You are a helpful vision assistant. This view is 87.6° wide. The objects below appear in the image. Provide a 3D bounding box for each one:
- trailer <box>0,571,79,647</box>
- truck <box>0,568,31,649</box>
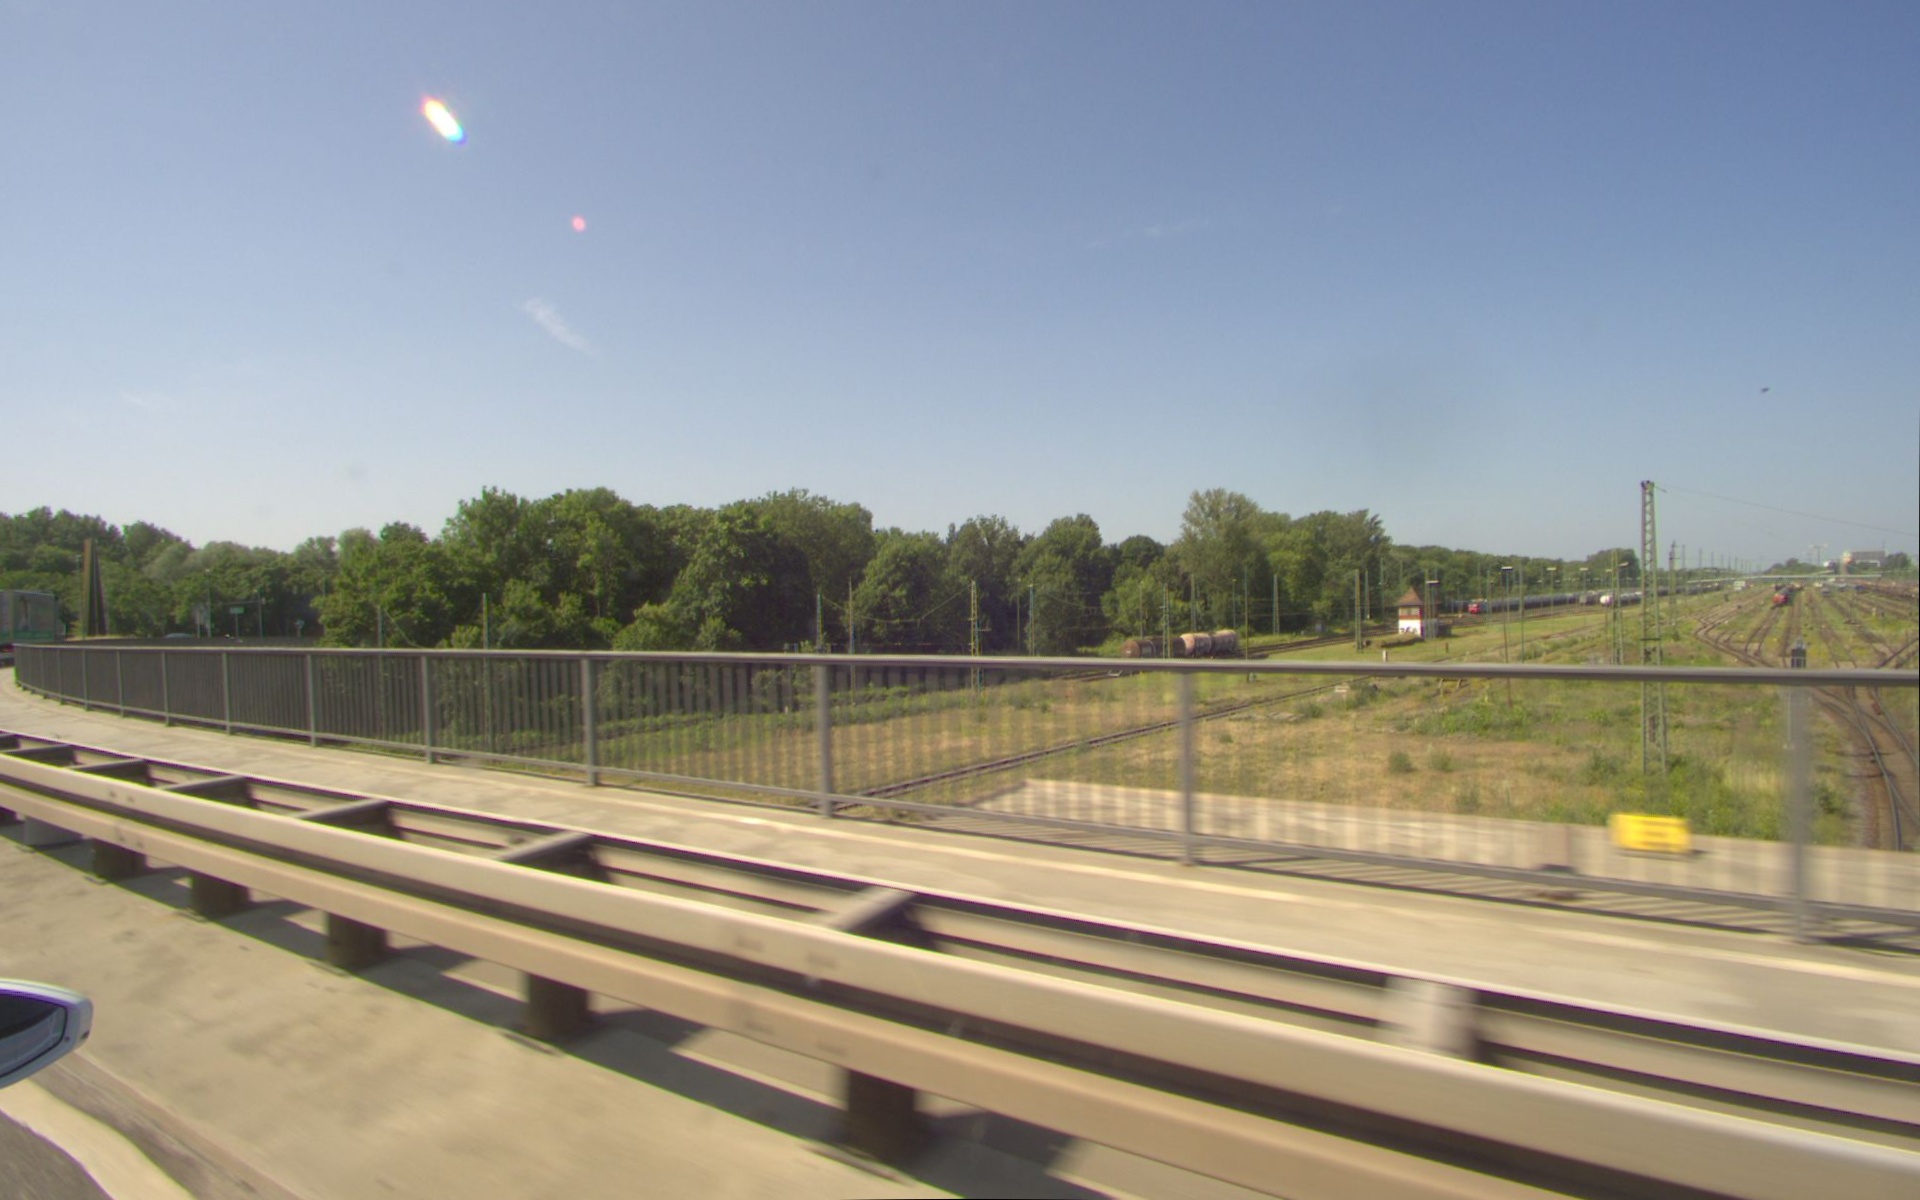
[{"bbox_3d":[-50.762,0.490,53.932,3.188,3.806,7.787,3,-2,-29],"label":"trailer"},{"bbox_3d":[-46.549,0.327,46.275,3.225,3.806,8.329,3,-2,-29],"label":"truck"}]
